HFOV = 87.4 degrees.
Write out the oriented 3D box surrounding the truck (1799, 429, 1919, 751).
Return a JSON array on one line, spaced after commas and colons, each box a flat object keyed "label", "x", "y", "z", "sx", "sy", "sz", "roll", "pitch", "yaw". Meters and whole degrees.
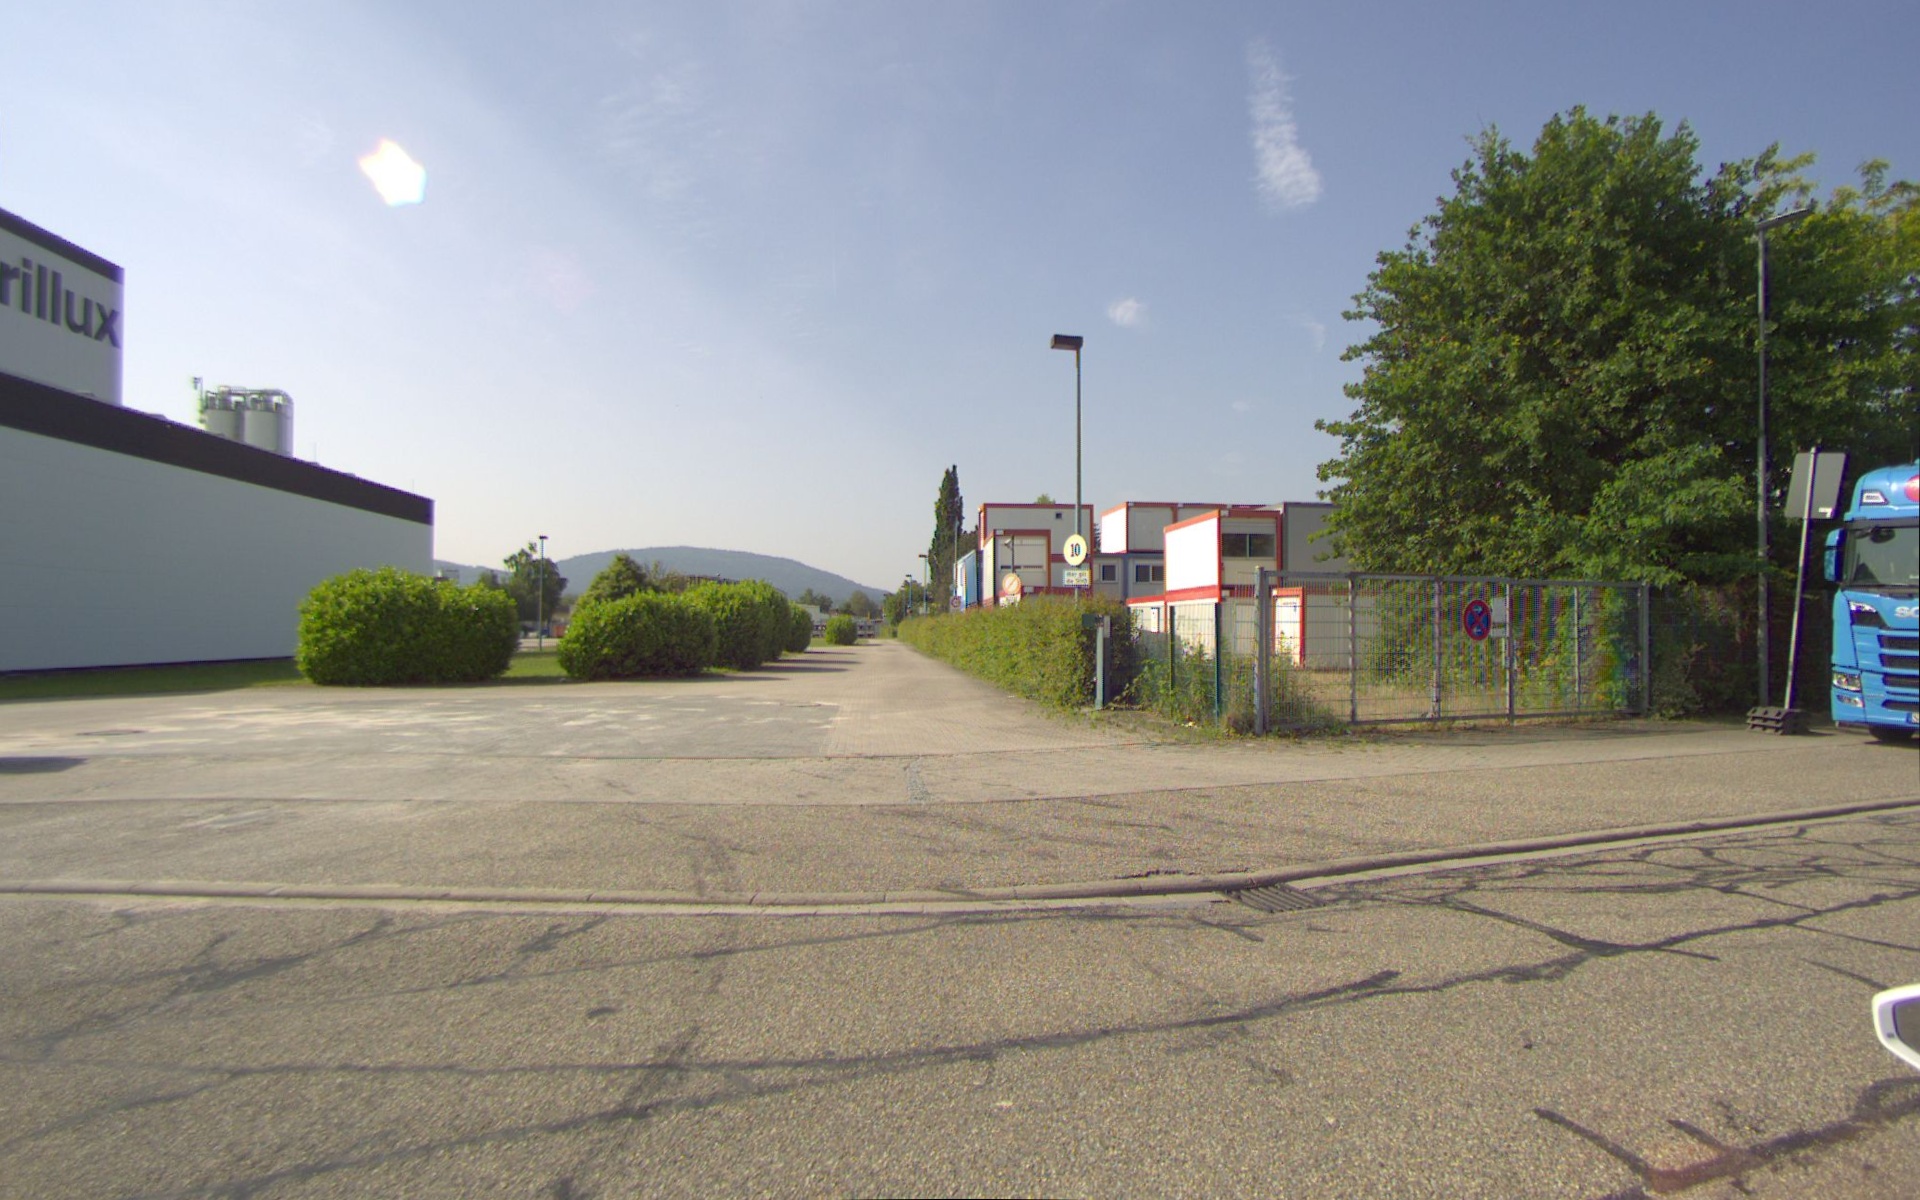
[{"label": "truck", "x": 16.129, "y": -0.031, "z": 14.035, "sx": 9.498, "sy": 3.936, "sz": 2.707, "roll": 1, "pitch": 0, "yaw": -23}]
